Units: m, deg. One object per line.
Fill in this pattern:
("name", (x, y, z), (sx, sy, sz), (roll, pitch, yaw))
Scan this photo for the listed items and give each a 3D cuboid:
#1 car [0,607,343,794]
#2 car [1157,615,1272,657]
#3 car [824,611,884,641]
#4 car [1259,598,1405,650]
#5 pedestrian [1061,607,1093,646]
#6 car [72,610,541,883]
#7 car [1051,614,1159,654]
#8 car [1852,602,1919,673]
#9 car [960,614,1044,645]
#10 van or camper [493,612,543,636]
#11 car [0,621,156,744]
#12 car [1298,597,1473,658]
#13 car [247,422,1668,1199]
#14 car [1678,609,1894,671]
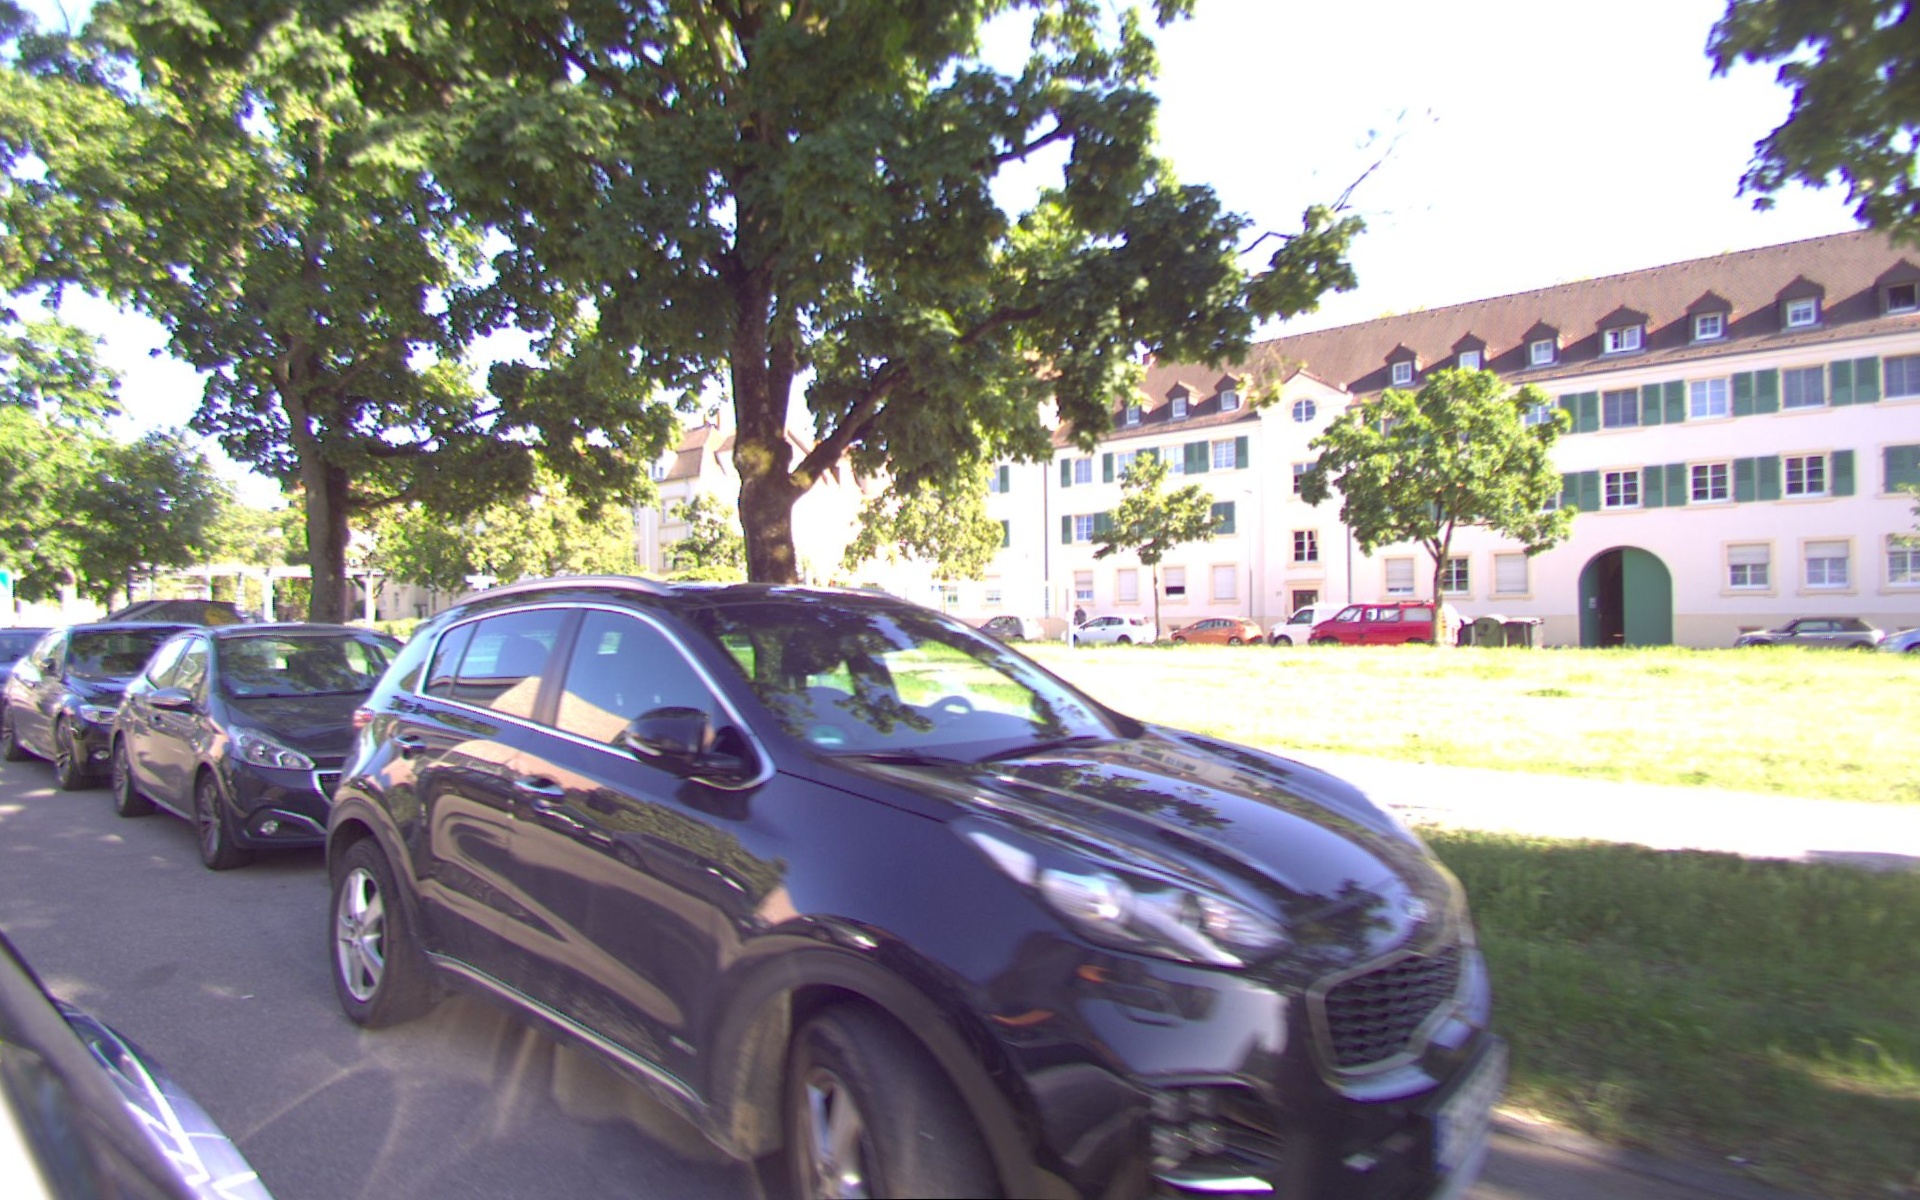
("car", (-8.656, 0.895, 10.656), (5.150, 1.528, 1.975), (-1, -2, 38))
("car", (11.383, 1.588, 45.409), (4.638, 1.777, 1.974), (-1, -1, 38))
("car", (-7.352, 1.786, 70.475), (2.042, 1.970, 3.763), (-2, -1, 42))
("car", (15.411, 0.990, 42.087), (5.250, 1.999, 2.199), (-1, -1, 38))
("pedestrian", (6.090, 1.361, 52.772), (1.161, 1.978, 1.328), (-1, -1, 34))
("car", (-4.849, 0.800, 7.318), (3.802, 1.429, 1.860), (0, -1, 41))
("car", (6.069, 1.396, 42.608), (4.231, 1.595, 1.771), (-1, -1, 39))
("car", (26.458, 0.934, 25.835), (5.451, 1.834, 2.424), (-1, -1, 42))
("car", (1.887, 1.317, 45.940), (3.511, 1.343, 1.634), (-1, -1, 39))
("van or camper", (-37.880, 2.015, 86.739), (4.371, 2.029, 2.244), (-1, -1, 41))
("car", (-13.117, 1.042, 14.184), (4.961, 1.463, 1.818), (-1, -1, 38))
("car", (14.890, 0.944, 35.614), (5.253, 1.999, 2.198), (-1, -1, 40))
("car", (-0.581, 0.681, 3.488), (4.755, 1.638, 2.004), (-1, -2, 41))
("car", (26.677, 1.250, 32.877), (5.256, 1.834, 2.424), (-1, -1, 42))
